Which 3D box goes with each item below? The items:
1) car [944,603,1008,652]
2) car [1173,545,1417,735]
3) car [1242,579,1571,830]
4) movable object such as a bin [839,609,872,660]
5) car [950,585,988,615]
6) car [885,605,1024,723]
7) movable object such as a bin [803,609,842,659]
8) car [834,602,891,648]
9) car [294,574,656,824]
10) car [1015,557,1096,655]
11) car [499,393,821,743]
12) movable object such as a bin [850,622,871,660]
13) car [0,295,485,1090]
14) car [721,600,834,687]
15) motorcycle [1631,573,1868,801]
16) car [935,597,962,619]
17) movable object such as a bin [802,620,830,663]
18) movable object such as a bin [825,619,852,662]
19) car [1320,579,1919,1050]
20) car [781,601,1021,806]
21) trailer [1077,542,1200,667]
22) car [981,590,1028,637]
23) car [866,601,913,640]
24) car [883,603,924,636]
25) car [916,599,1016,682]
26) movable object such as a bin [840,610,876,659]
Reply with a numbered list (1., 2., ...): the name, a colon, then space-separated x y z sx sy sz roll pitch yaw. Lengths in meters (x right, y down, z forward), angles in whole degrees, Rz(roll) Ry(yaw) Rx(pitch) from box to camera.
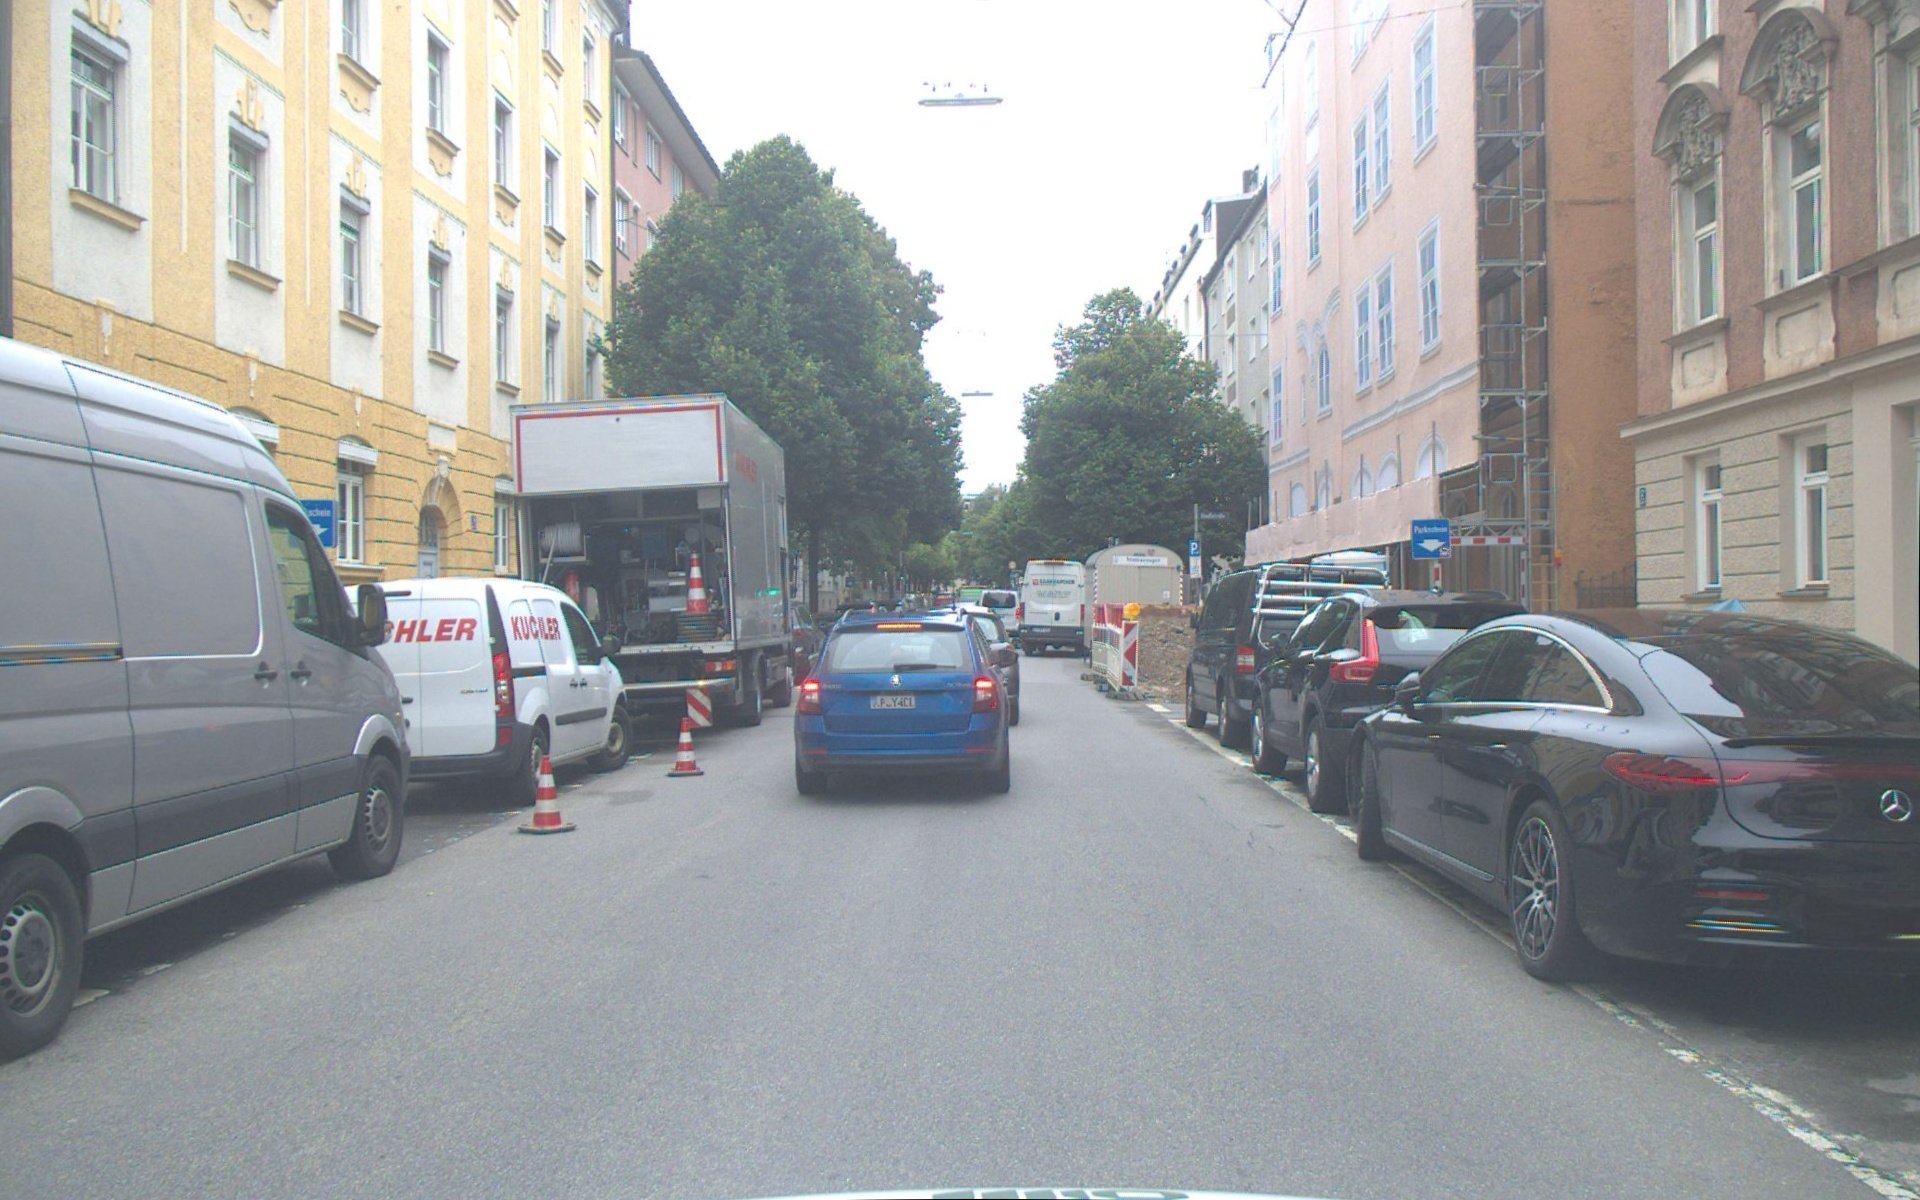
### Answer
1. car: 0.534 0.805 50.828 1.828 1.372 4.348 1 0 2
2. car: 3.820 0.530 19.786 2.039 1.955 5.141 1 -3 2
3. car: 3.536 0.761 13.912 1.658 1.706 4.408 2 -1 2
4. movable object such as a bin: -3.027 0.997 47.903 0.900 1.400 1.079 -2 0 -3
5. car: 0.504 -0.011 97.106 1.968 1.682 4.344 1 0 -4
6. car: -0.040 0.801 22.279 1.705 1.446 3.664 0 0 1
7. movable object such as a bin: -4.058 1.000 48.927 1.036 1.400 1.095 -2 0 -3
8. car: -3.252 0.811 55.727 1.775 1.504 3.999 0 0 -1
9. car: -4.043 0.752 14.583 1.726 1.810 4.327 -2 0 2
10. car: 2.899 0.197 49.062 2.068 2.710 5.504 1 -1 7
11. car: -3.736 -0.338 22.935 2.755 3.884 8.723 -1 0 1
12. movable object such as a bin: -2.834 1.166 47.047 0.535 1.038 0.636 -2 0 -3
13. car: -4.182 0.354 7.163 2.014 2.632 6.877 -5 0 1
14. car: -3.741 0.847 34.596 1.748 1.657 4.186 -2 0 2
15. motorcycle: 5.733 0.591 12.156 0.853 1.531 1.998 0 0 3
16. car: -0.915 0.639 132.626 1.966 1.682 4.348 1 0 1
17. movable object such as a bin: -4.095 1.181 46.939 0.706 1.158 0.658 -3 0 -3
18. movable object such as a bin: -3.440 1.151 46.990 0.697 1.168 0.636 -2 0 -3
19. car: 3.381 0.723 8.383 1.891 1.580 5.636 0 0 0
20. car: -0.390 0.779 14.384 1.752 1.486 4.315 -1 0 1
21. trailer: 4.404 0.139 41.954 2.450 2.890 6.901 1 -1 1
22. car: 1.850 0.522 69.900 1.829 1.902 4.347 1 0 0
23. car: -2.793 0.797 66.457 1.775 1.504 3.999 0 0 -1
24. car: -2.657 0.918 78.498 1.775 1.504 4.000 0 0 1
25. car: 0.117 0.752 32.691 1.829 1.479 4.347 1 0 0
26. movable object such as a bin: -3.023 1.013 49.001 1.000 1.400 1.103 -2 0 -3
